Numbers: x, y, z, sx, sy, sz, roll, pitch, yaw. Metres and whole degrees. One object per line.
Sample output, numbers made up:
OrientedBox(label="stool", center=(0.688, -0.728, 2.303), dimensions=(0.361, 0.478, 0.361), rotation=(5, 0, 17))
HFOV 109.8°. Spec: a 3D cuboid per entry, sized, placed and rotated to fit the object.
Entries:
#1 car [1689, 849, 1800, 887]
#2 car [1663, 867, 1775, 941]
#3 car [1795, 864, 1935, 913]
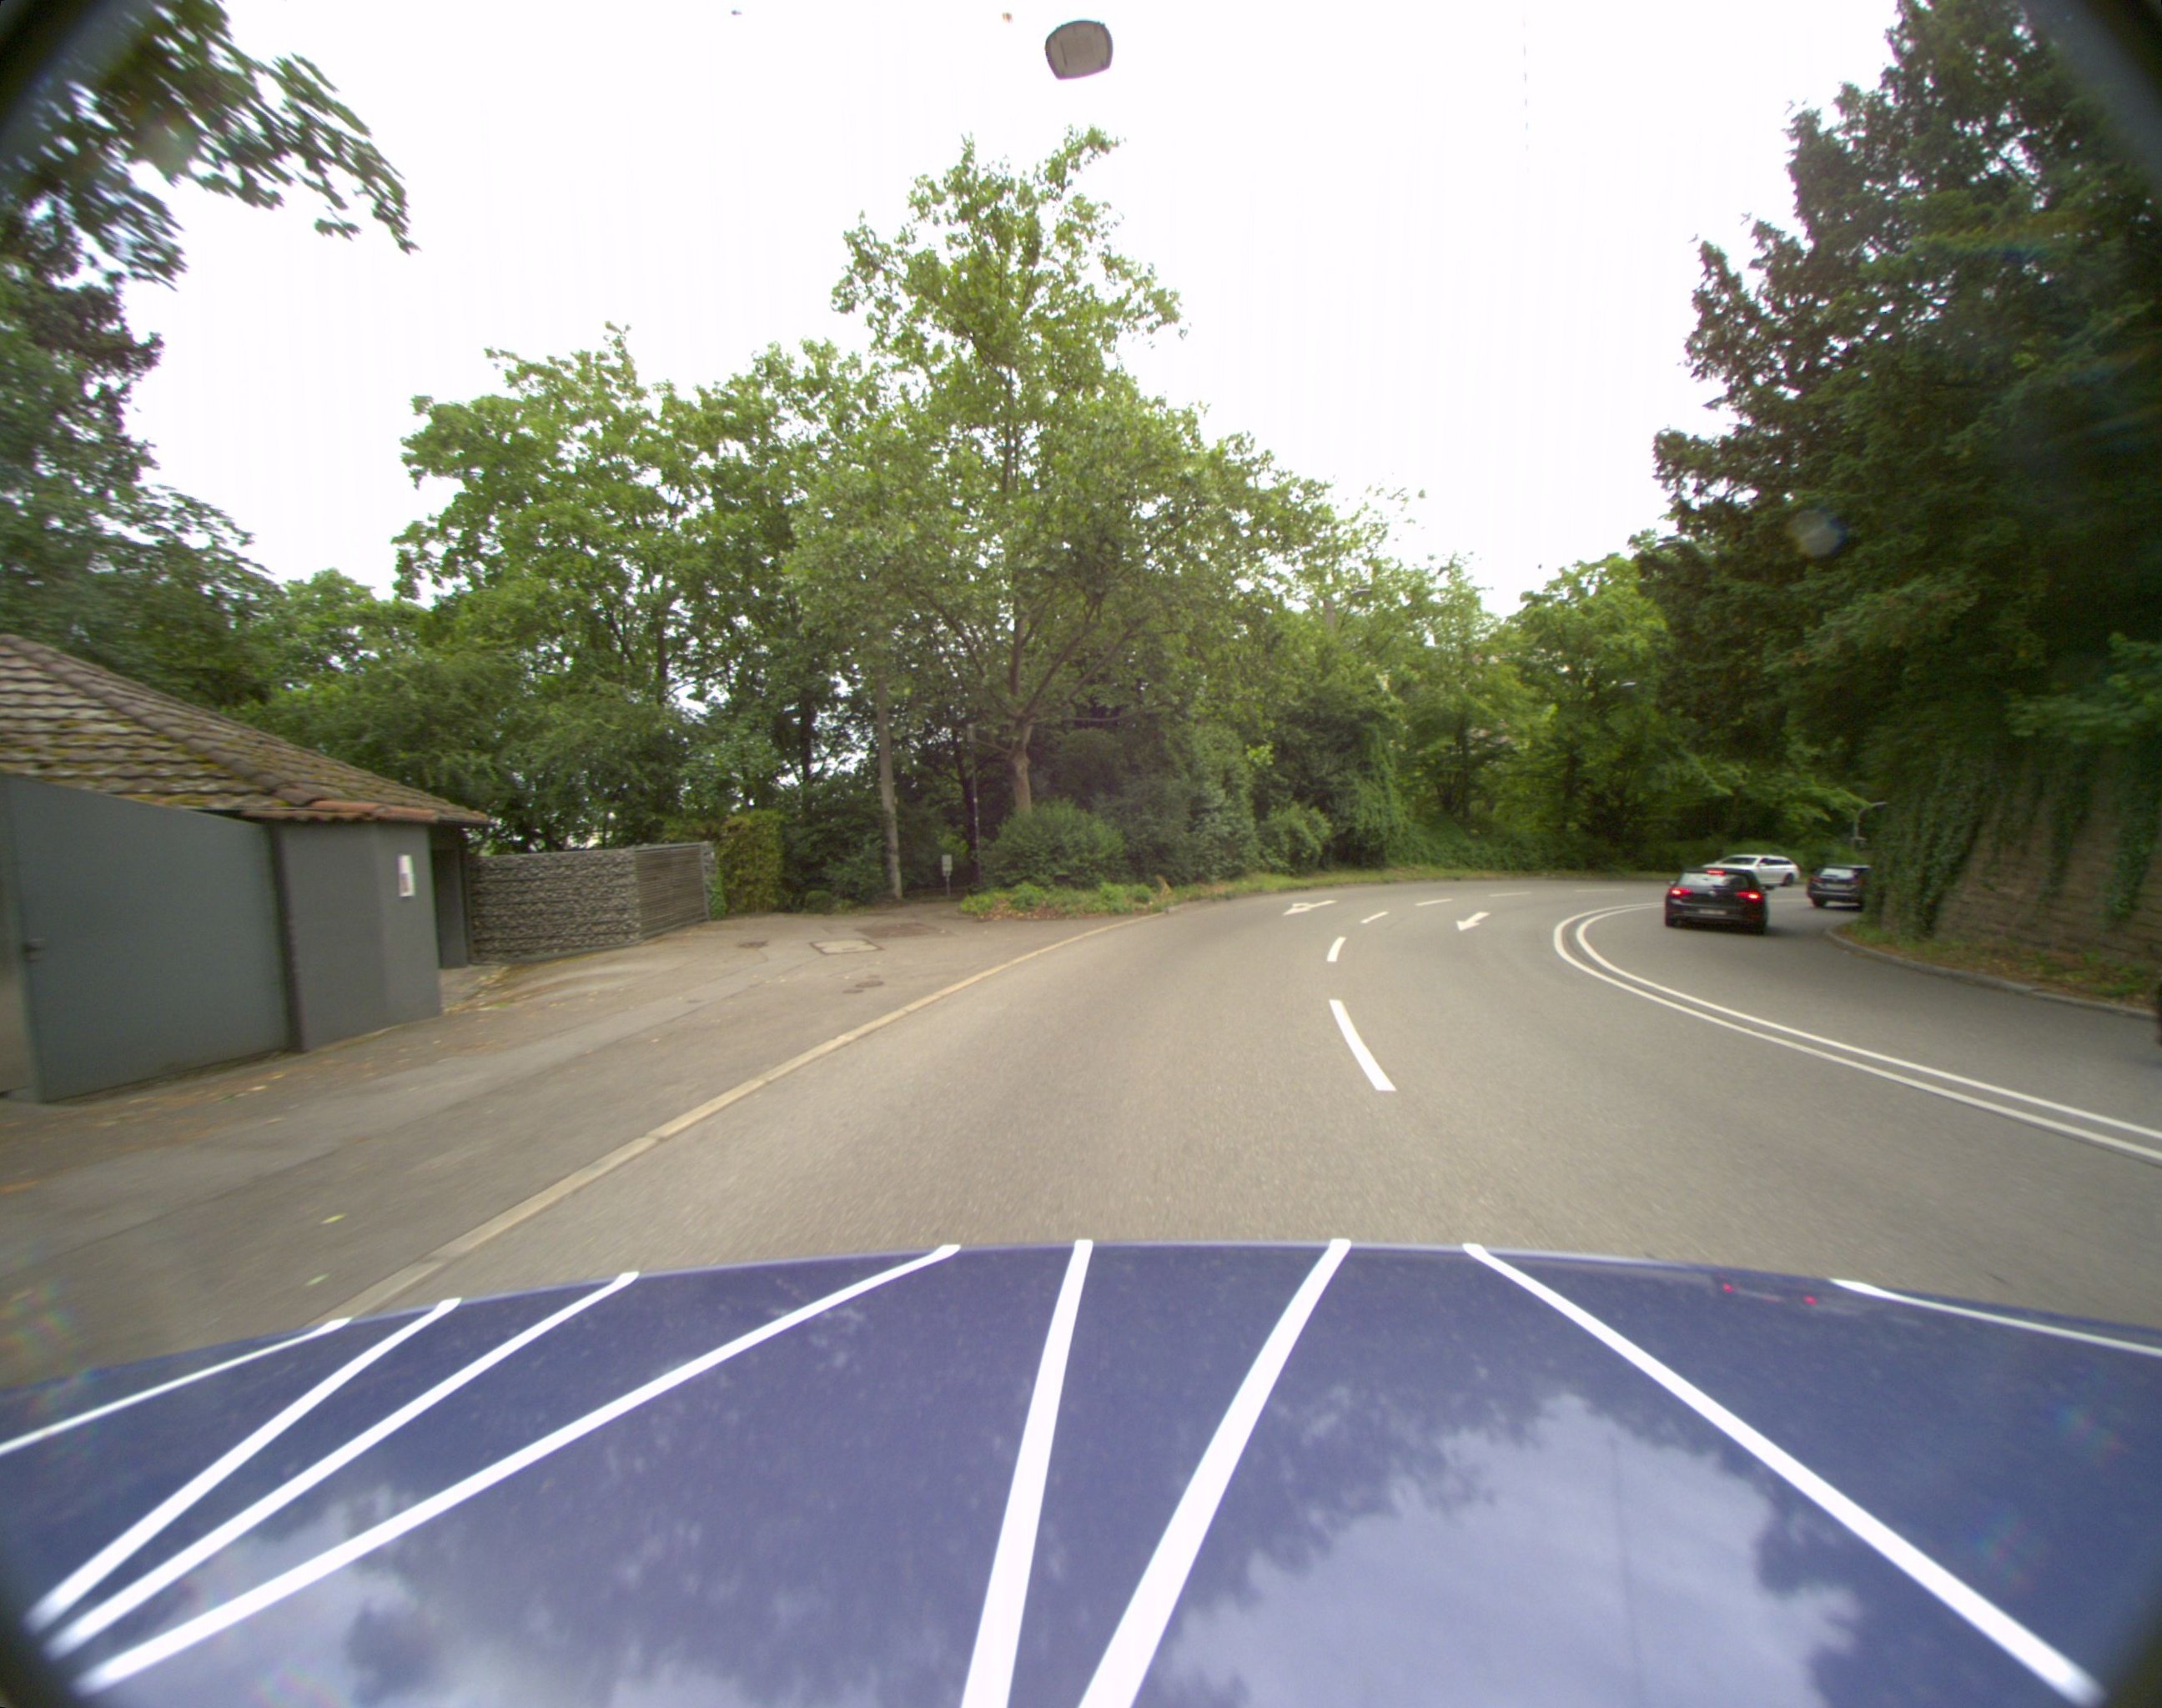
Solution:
OrientedBox(label="car", center=(30.864, 0.635, 35.357), dimensions=(4.531, 1.543, 1.913), rotation=(0, 4, -21))
OrientedBox(label="car", center=(15.197, 1.085, 18.083), dimensions=(1.802, 1.435, 4.009), rotation=(3, 2, 41))
OrientedBox(label="car", center=(25.717, 1.107, 24.920), dimensions=(4.301, 1.432, 1.659), rotation=(1, 2, -23))
